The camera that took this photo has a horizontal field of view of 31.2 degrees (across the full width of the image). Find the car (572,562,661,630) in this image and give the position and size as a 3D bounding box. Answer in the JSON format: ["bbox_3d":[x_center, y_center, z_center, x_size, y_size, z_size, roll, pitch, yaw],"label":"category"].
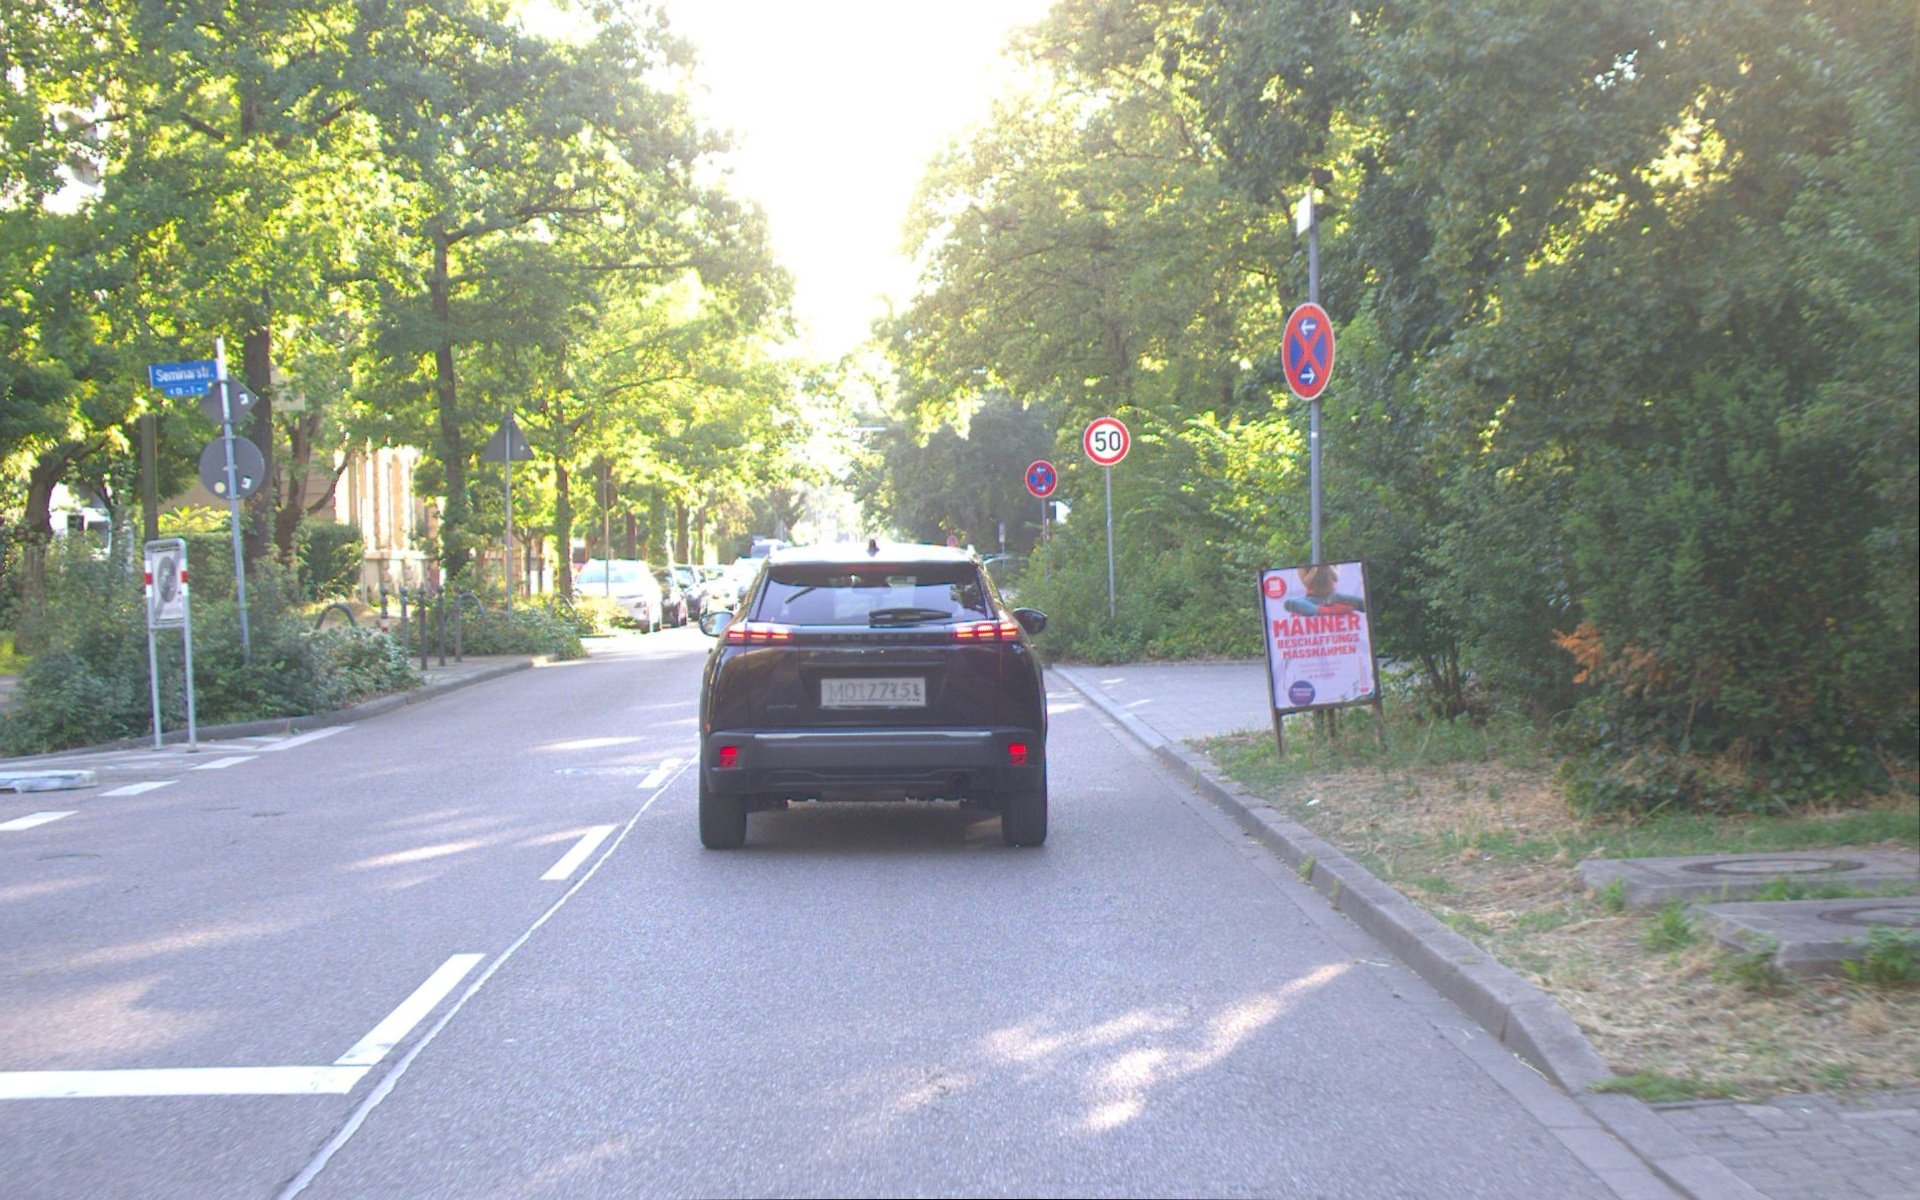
[{"bbox_3d":[-7.338,-0.104,73.364,1.810,1.349,4.001,-2,1,-6],"label":"car"}]

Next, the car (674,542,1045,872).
[{"bbox_3d":[-0.562,0.490,18.310,1.768,1.563,3.381,-1,1,-3],"label":"car"}]

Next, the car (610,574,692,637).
[{"bbox_3d":[-7.135,0.110,79.614,1.810,1.349,4.001,-2,1,-5],"label":"car"}]

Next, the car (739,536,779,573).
[{"bbox_3d":[-10.427,-2.351,178.471,1.907,1.861,3.949,-1,1,-1],"label":"car"}]

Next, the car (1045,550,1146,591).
[{"bbox_3d":[5.635,-1.244,143.089,3.986,1.577,1.816,-2,1,-4],"label":"car"}]

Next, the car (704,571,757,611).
[{"bbox_3d":[-8.269,-0.346,123.506,1.810,1.349,4.001,-2,1,-5],"label":"car"}]

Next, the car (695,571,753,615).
[{"bbox_3d":[-7.815,-0.235,113.452,1.810,1.349,3.980,-2,1,-5],"label":"car"}]
